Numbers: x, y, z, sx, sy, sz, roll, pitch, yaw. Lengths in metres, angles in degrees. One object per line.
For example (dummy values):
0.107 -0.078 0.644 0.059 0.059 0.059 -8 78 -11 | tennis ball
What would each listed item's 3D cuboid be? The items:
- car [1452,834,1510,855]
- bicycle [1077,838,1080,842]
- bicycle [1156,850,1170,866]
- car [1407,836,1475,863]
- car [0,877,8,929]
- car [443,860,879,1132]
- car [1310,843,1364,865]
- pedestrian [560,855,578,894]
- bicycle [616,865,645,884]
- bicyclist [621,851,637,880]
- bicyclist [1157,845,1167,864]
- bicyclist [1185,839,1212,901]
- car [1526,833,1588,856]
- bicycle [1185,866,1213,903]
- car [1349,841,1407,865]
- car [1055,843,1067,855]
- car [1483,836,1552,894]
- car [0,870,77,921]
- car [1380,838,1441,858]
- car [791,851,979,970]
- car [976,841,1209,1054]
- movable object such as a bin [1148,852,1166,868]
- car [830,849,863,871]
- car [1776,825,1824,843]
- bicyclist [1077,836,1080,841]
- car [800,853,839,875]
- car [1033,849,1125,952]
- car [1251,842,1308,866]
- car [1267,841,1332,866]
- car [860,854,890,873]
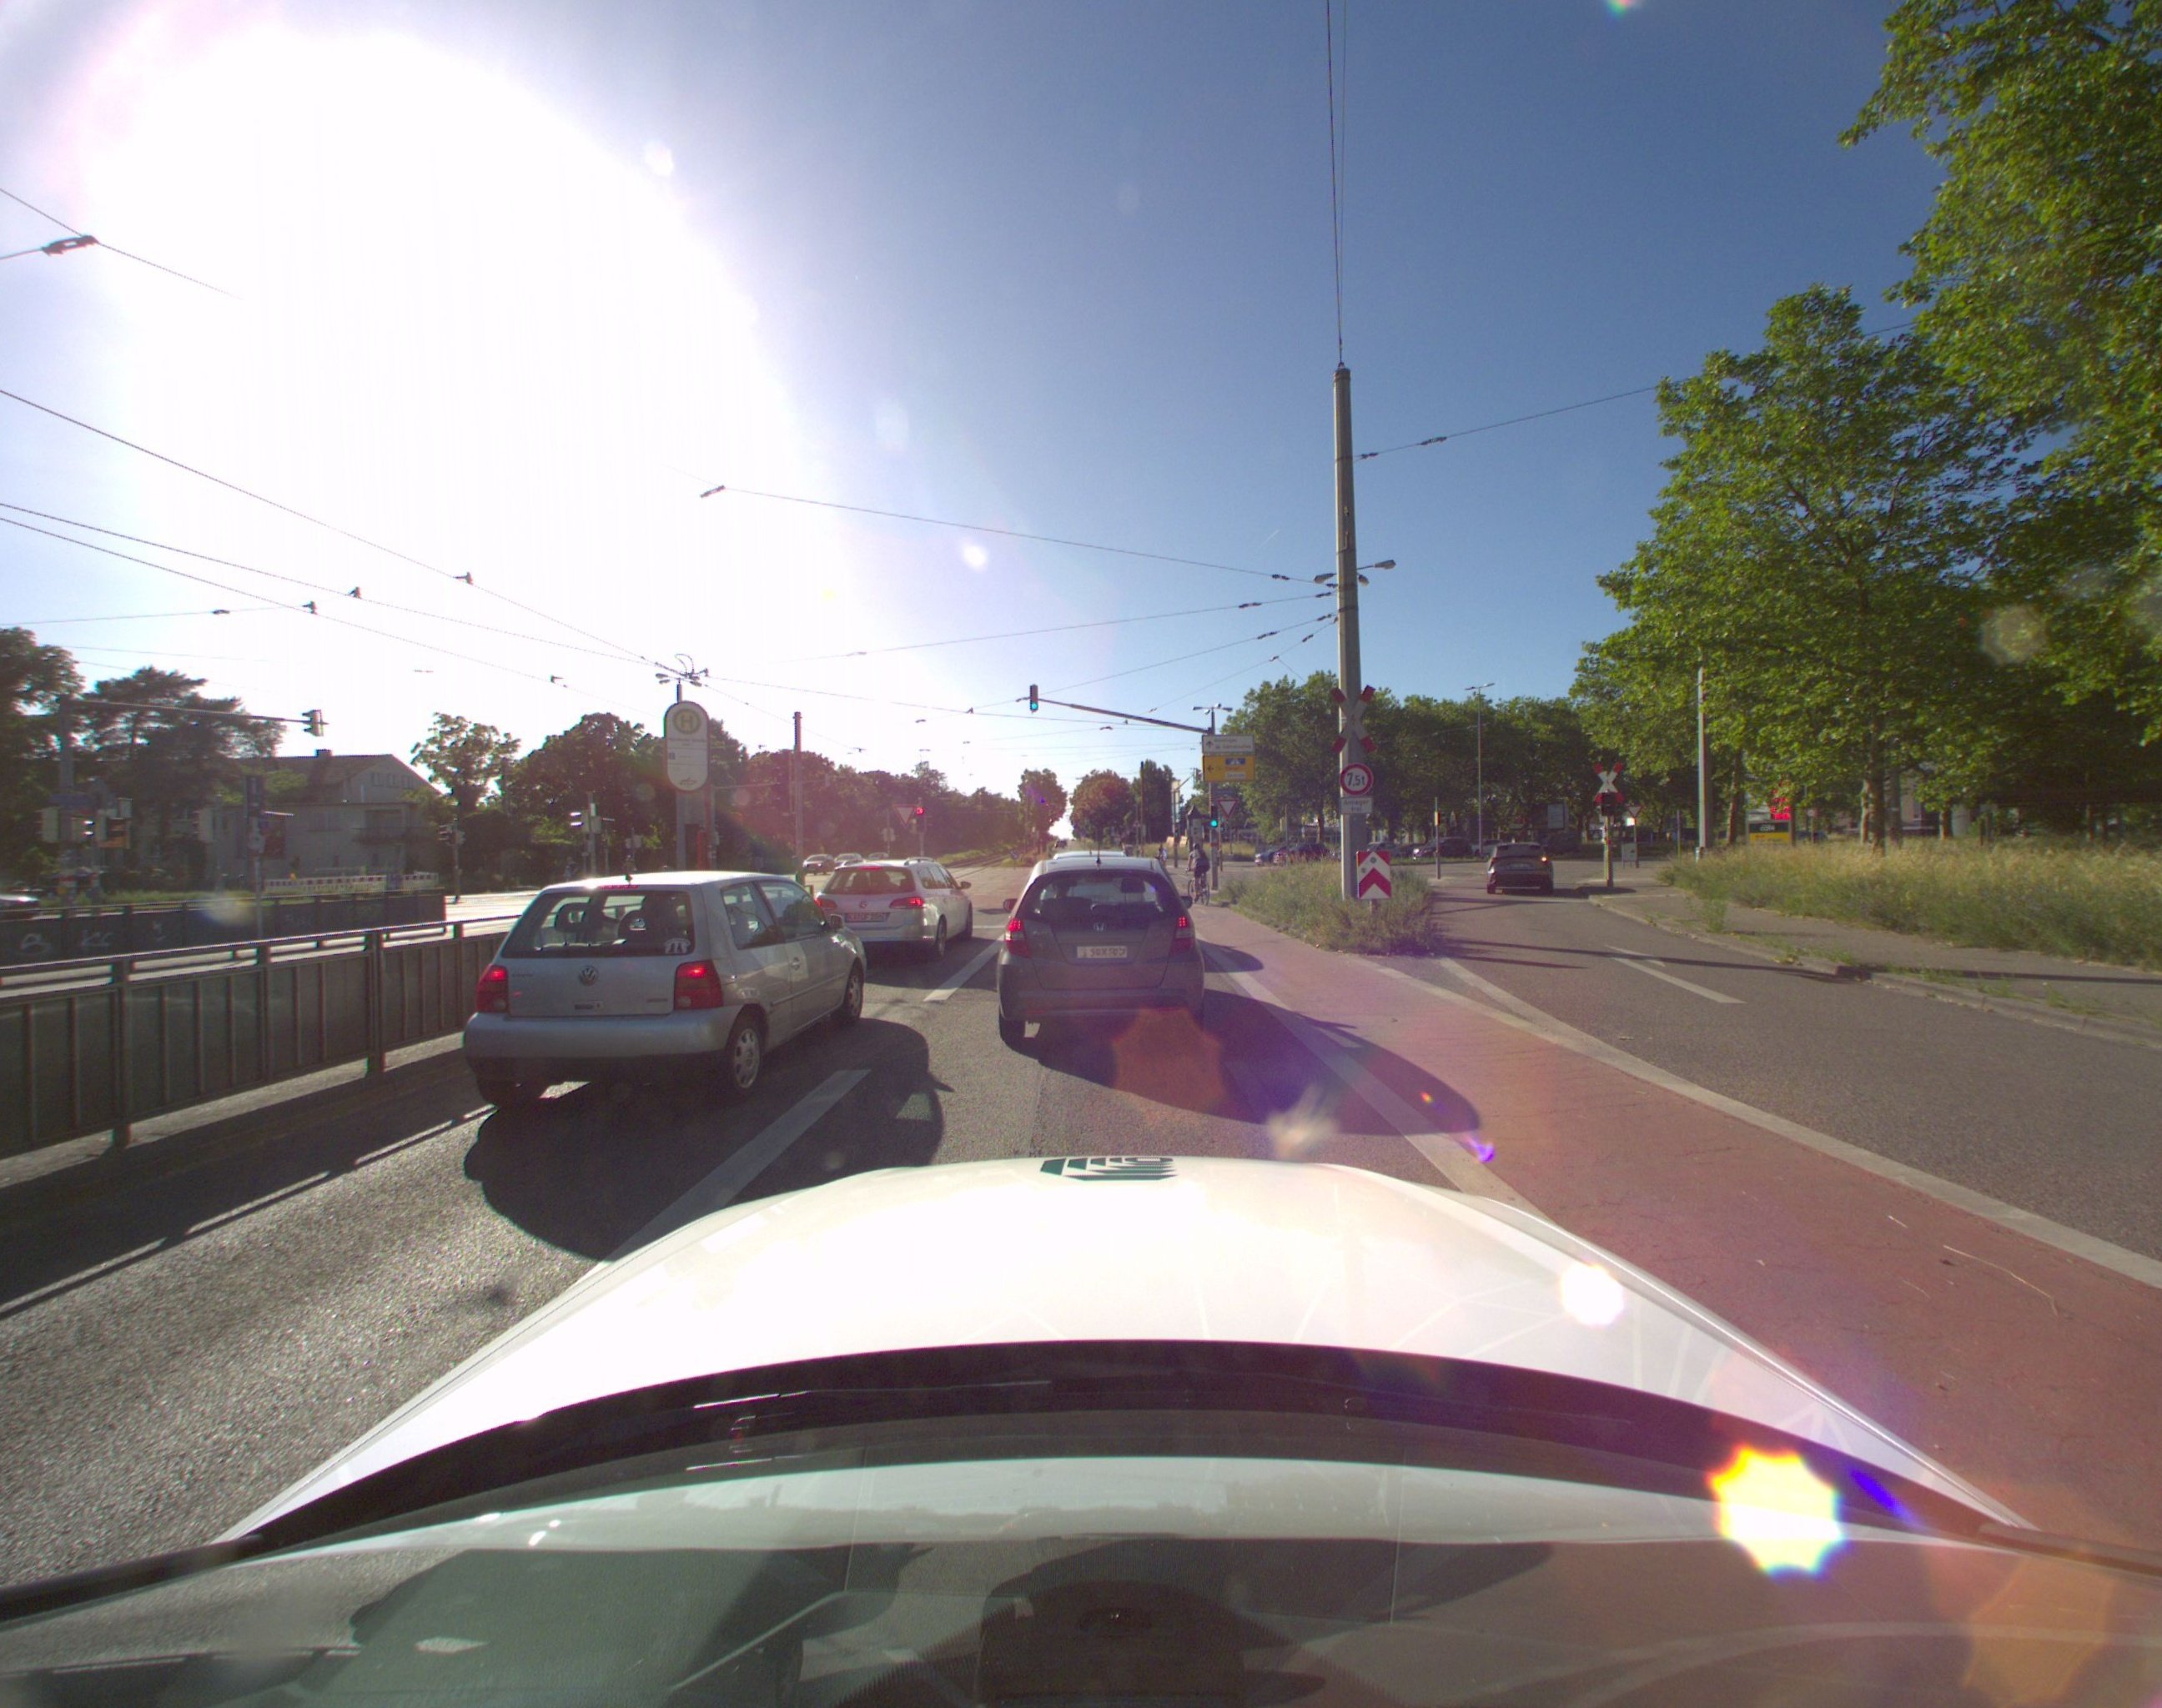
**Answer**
33.466 -0.775 68.143 4.785 1.682 1.892 0 -1 -26 | car
-0.646 -4.115 239.900 0.815 1.048 2.506 0 -1 1 | bicycle
5.715 0.288 56.891 0.467 1.119 1.813 -1 0 -12 | bicycle
25.034 -0.334 56.655 4.504 1.711 1.904 -2 0 -27 | car
-32.232 1.441 21.354 4.646 1.477 1.658 -2 0 -27 | car
-2.807 0.820 6.337 1.576 1.468 3.414 -1 0 0 | car
19.646 -0.005 62.530 3.869 1.600 1.698 -2 0 -27 | car
-26.178 1.058 41.608 0.615 1.948 0.767 -2 1 -43 | pedestrian
-25.262 1.140 45.678 0.505 1.042 1.949 -2 0 1 | bicycle
-25.276 0.617 45.542 0.487 1.608 0.648 -2 0 1 | bicyclist
5.699 0.049 57.350 0.510 1.340 0.562 -2 0 -13 | bicyclist
3.262 0.439 22.644 0.612 1.679 0.934 -2 0 2 | bicyclist
45.073 -0.911 77.131 5.116 2.070 2.118 -1 0 -18 | car
3.277 0.833 22.693 0.522 0.923 2.090 -2 0 2 | bicycle
21.517 -0.051 58.983 3.864 1.600 1.700 -2 0 -23 | car
-3.627 -0.928 150.329 1.987 2.014 4.000 0 -1 0 | car
13.960 0.301 25.962 1.803 1.704 3.797 0 1 30 | car
-33.839 1.290 24.421 4.258 1.466 1.921 -1 0 -27 | car
26.225 -0.490 64.763 4.579 1.408 1.918 -2 0 -26 | car
-2.892 0.751 13.079 1.871 1.527 4.421 -2 0 0 | car
0.140 0.677 7.810 1.664 1.515 3.675 -2 0 2 | car
5.458 0.429 58.659 0.909 1.068 1.311 -1 0 -12 | movable object such as a bin
-18.880 0.471 65.606 1.788 1.687 3.994 -2 0 -5 | car
68.141 -1.898 77.196 4.008 1.618 1.983 -2 0 -26 | car
-0.639 -4.479 239.922 0.815 1.524 0.966 0 -1 0 | bicyclist
-18.879 0.686 58.835 1.679 1.458 3.701 -2 0 -2 | car
-0.015 0.696 13.884 1.347 1.527 3.123 -2 0 0 | car
14.640 0.011 60.000 3.869 1.600 1.698 -2 0 -27 | car
14.976 -0.041 55.816 4.095 1.600 1.802 -2 0 -23 | car
-18.651 0.817 73.884 1.809 1.596 4.687 -1 0 -4 | car
